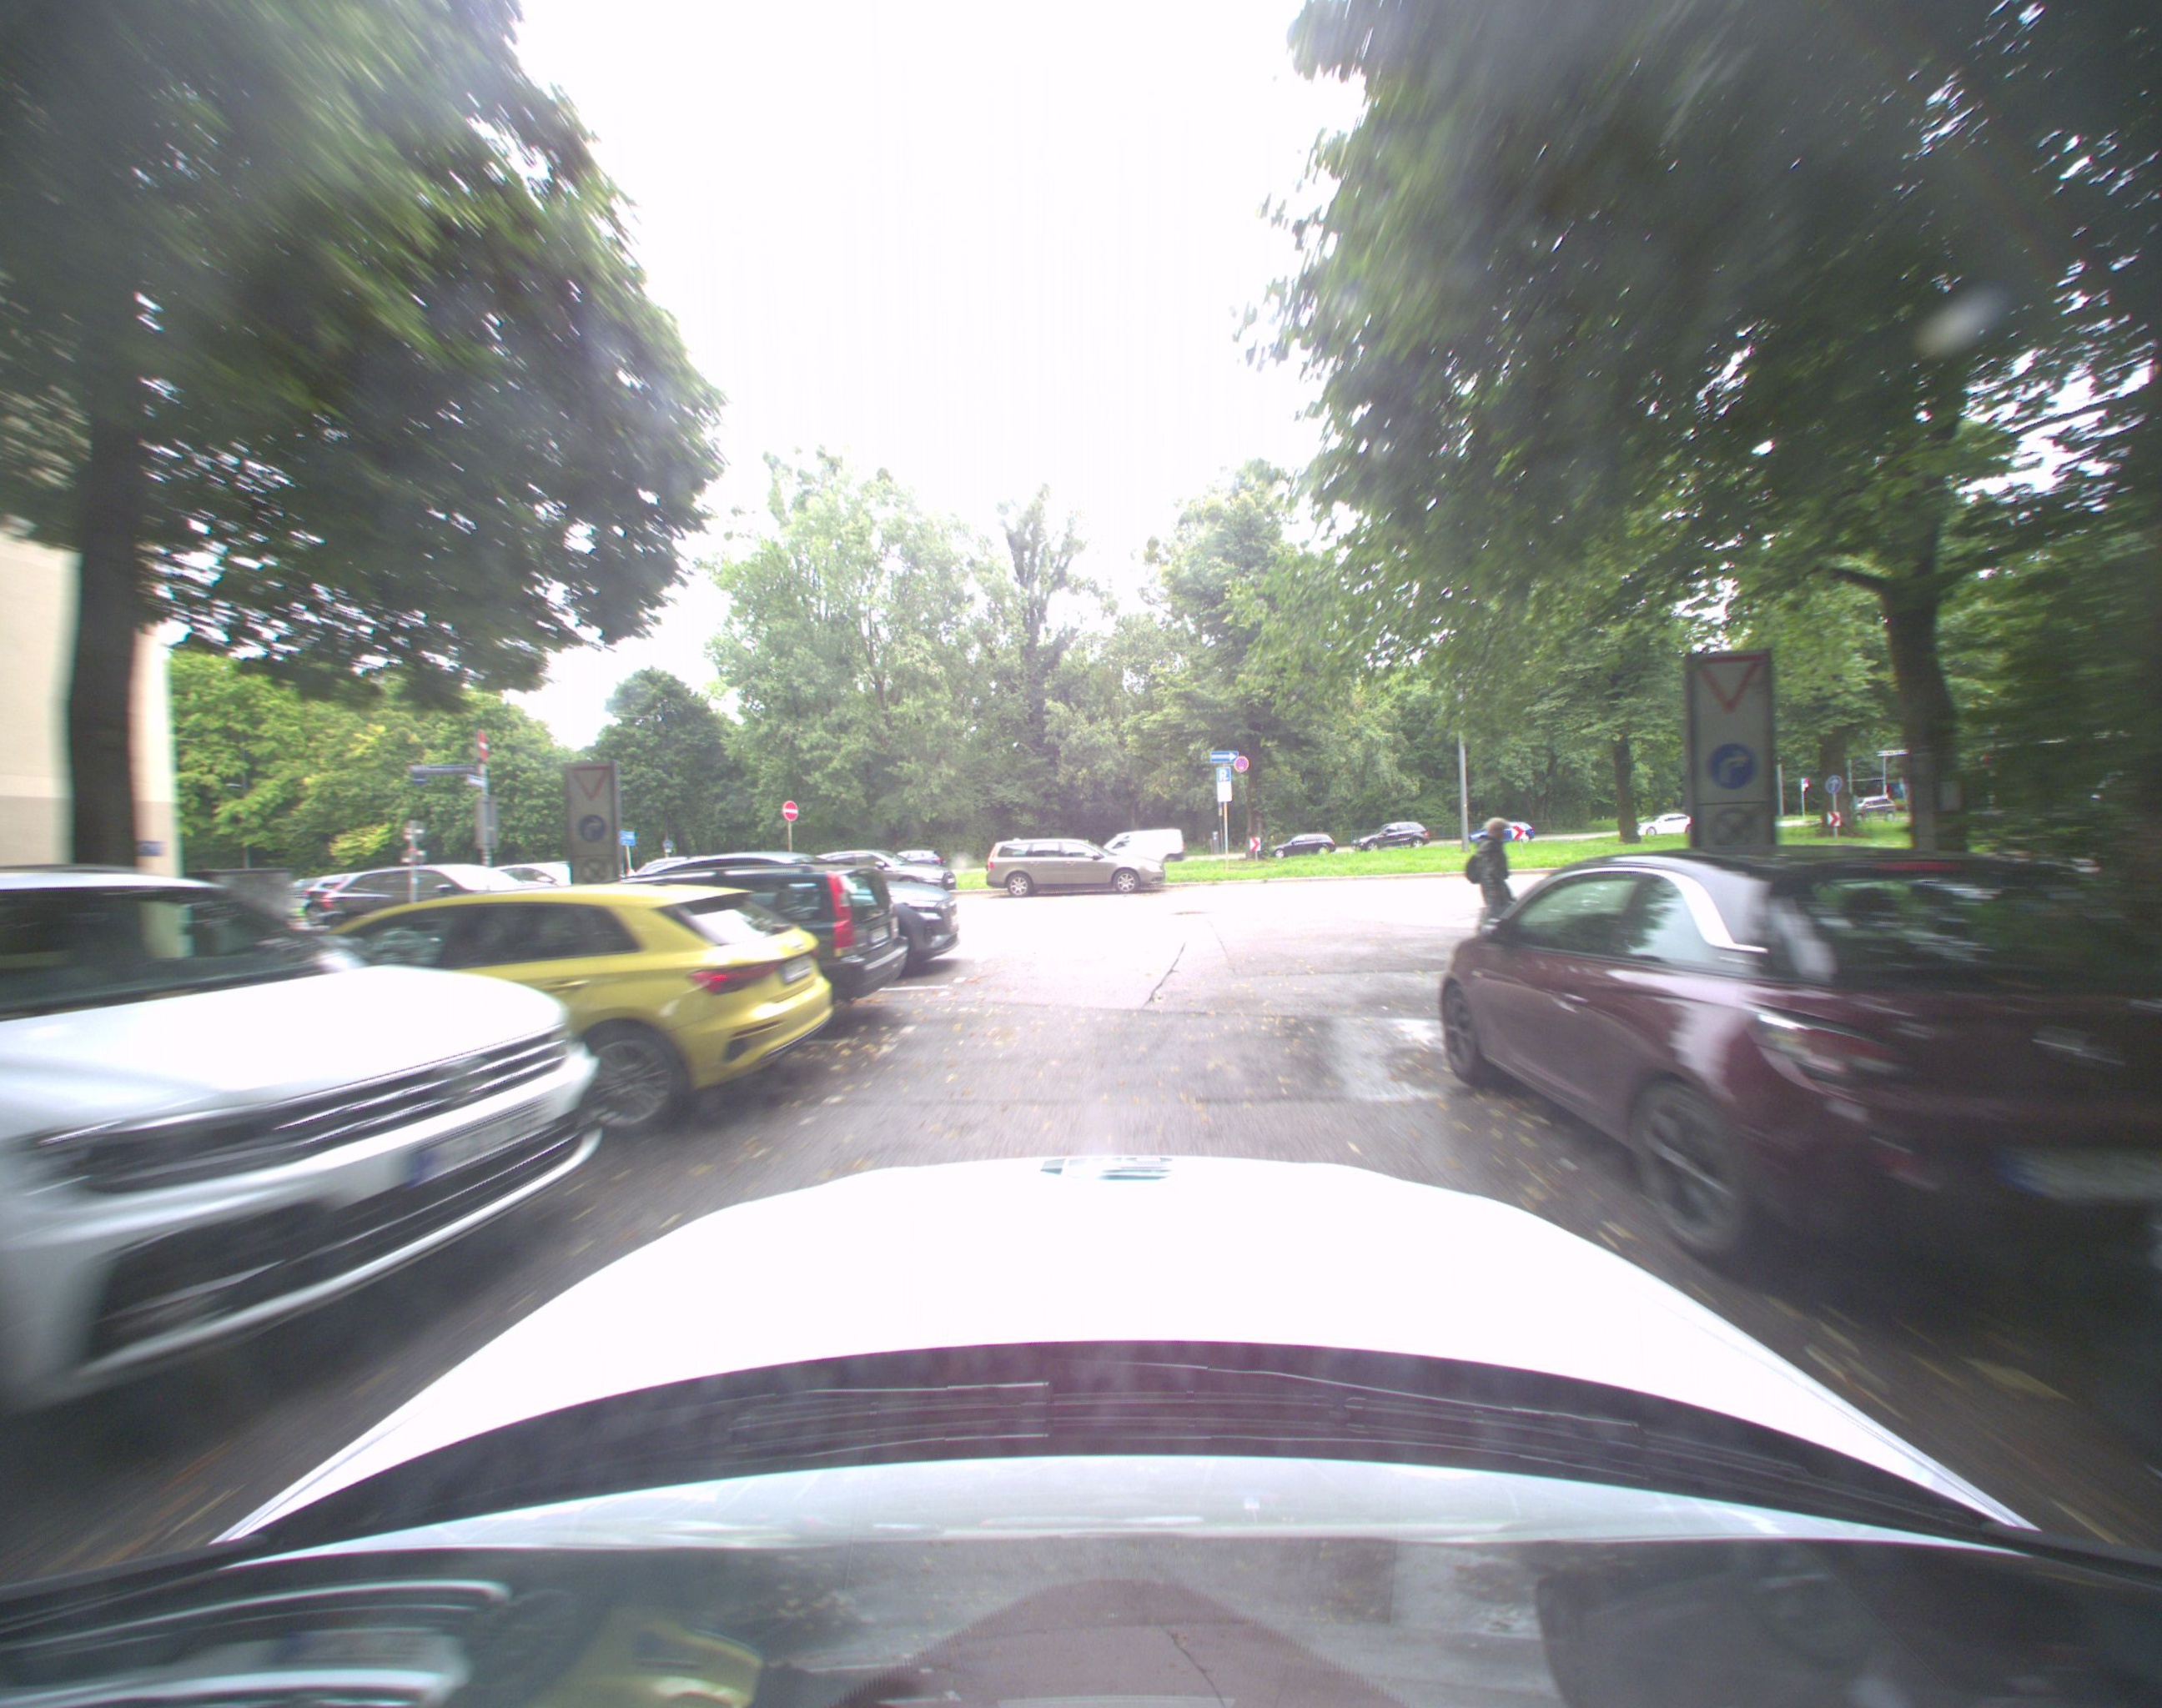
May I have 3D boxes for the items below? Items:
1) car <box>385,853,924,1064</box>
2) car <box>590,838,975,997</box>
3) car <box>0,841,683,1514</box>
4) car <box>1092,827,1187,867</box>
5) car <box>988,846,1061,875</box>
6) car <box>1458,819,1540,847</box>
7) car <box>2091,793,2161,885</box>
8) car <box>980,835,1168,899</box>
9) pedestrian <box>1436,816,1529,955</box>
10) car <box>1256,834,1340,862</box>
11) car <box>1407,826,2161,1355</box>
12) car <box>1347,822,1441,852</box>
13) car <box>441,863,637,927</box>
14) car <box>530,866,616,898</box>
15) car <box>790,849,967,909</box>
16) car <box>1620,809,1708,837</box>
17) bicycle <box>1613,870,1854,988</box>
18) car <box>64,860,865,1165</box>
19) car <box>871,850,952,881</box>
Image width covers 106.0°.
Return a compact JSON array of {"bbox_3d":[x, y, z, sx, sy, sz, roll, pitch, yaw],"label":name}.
[{"bbox_3d":[-3.673,0.865,7.534,3.971,1.464,1.737,-3,1,2],"label":"car"},{"bbox_3d":[-3.622,0.735,10.413,4.146,1.601,1.737,-3,2,2],"label":"car"},{"bbox_3d":[-4.189,0.839,3.110,4.424,1.596,1.839,-2,1,7],"label":"car"},{"bbox_3d":[2.839,-0.346,40.251,4.493,1.668,1.930,-3,0,-2],"label":"car"},{"bbox_3d":[-3.376,0.401,49.327,4.219,1.494,2.000,-3,1,0],"label":"car"},{"bbox_3d":[26.439,-1.324,51.607,4.259,1.471,1.928,-3,0,-6],"label":"car"},{"bbox_3d":[17.701,-0.318,11.702,3.965,1.345,1.619,-3,0,7],"label":"car"},{"bbox_3d":[-0.110,0.336,21.936,4.775,1.495,1.846,-2,1,7],"label":"car"},{"bbox_3d":[4.908,0.361,10.000,0.775,1.617,0.762,-2,3,5],"label":"pedestrian"},{"bbox_3d":[13.357,-0.386,50.234,4.575,1.471,1.928,-3,0,-6],"label":"car"},{"bbox_3d":[3.071,0.651,4.115,1.640,1.474,3.649,-2,1,5],"label":"car"},{"bbox_3d":[19.342,-1.032,50.437,5.023,1.565,1.996,-3,0,-6],"label":"car"},{"bbox_3d":[-15.547,1.149,23.485,4.382,1.564,2.005,-2,1,8],"label":"car"},{"bbox_3d":[-30.663,1.672,49.235,3.970,1.693,1.824,-3,0,3],"label":"car"},{"bbox_3d":[-5.562,0.675,22.602,4.320,1.380,1.775,-3,0,11],"label":"car"},{"bbox_3d":[37.811,-2.010,52.890,4.500,1.579,1.927,-3,0,-7],"label":"car"},{"bbox_3d":[5.871,0.681,7.381,1.740,0.982,0.274,-3,0,11],"label":"bicycle"},{"bbox_3d":[-3.651,0.888,5.372,3.865,1.441,1.741,-3,1,1],"label":"car"},{"bbox_3d":[-10.169,0.690,49.149,4.423,1.579,1.930,-3,0,-2],"label":"car"}]
